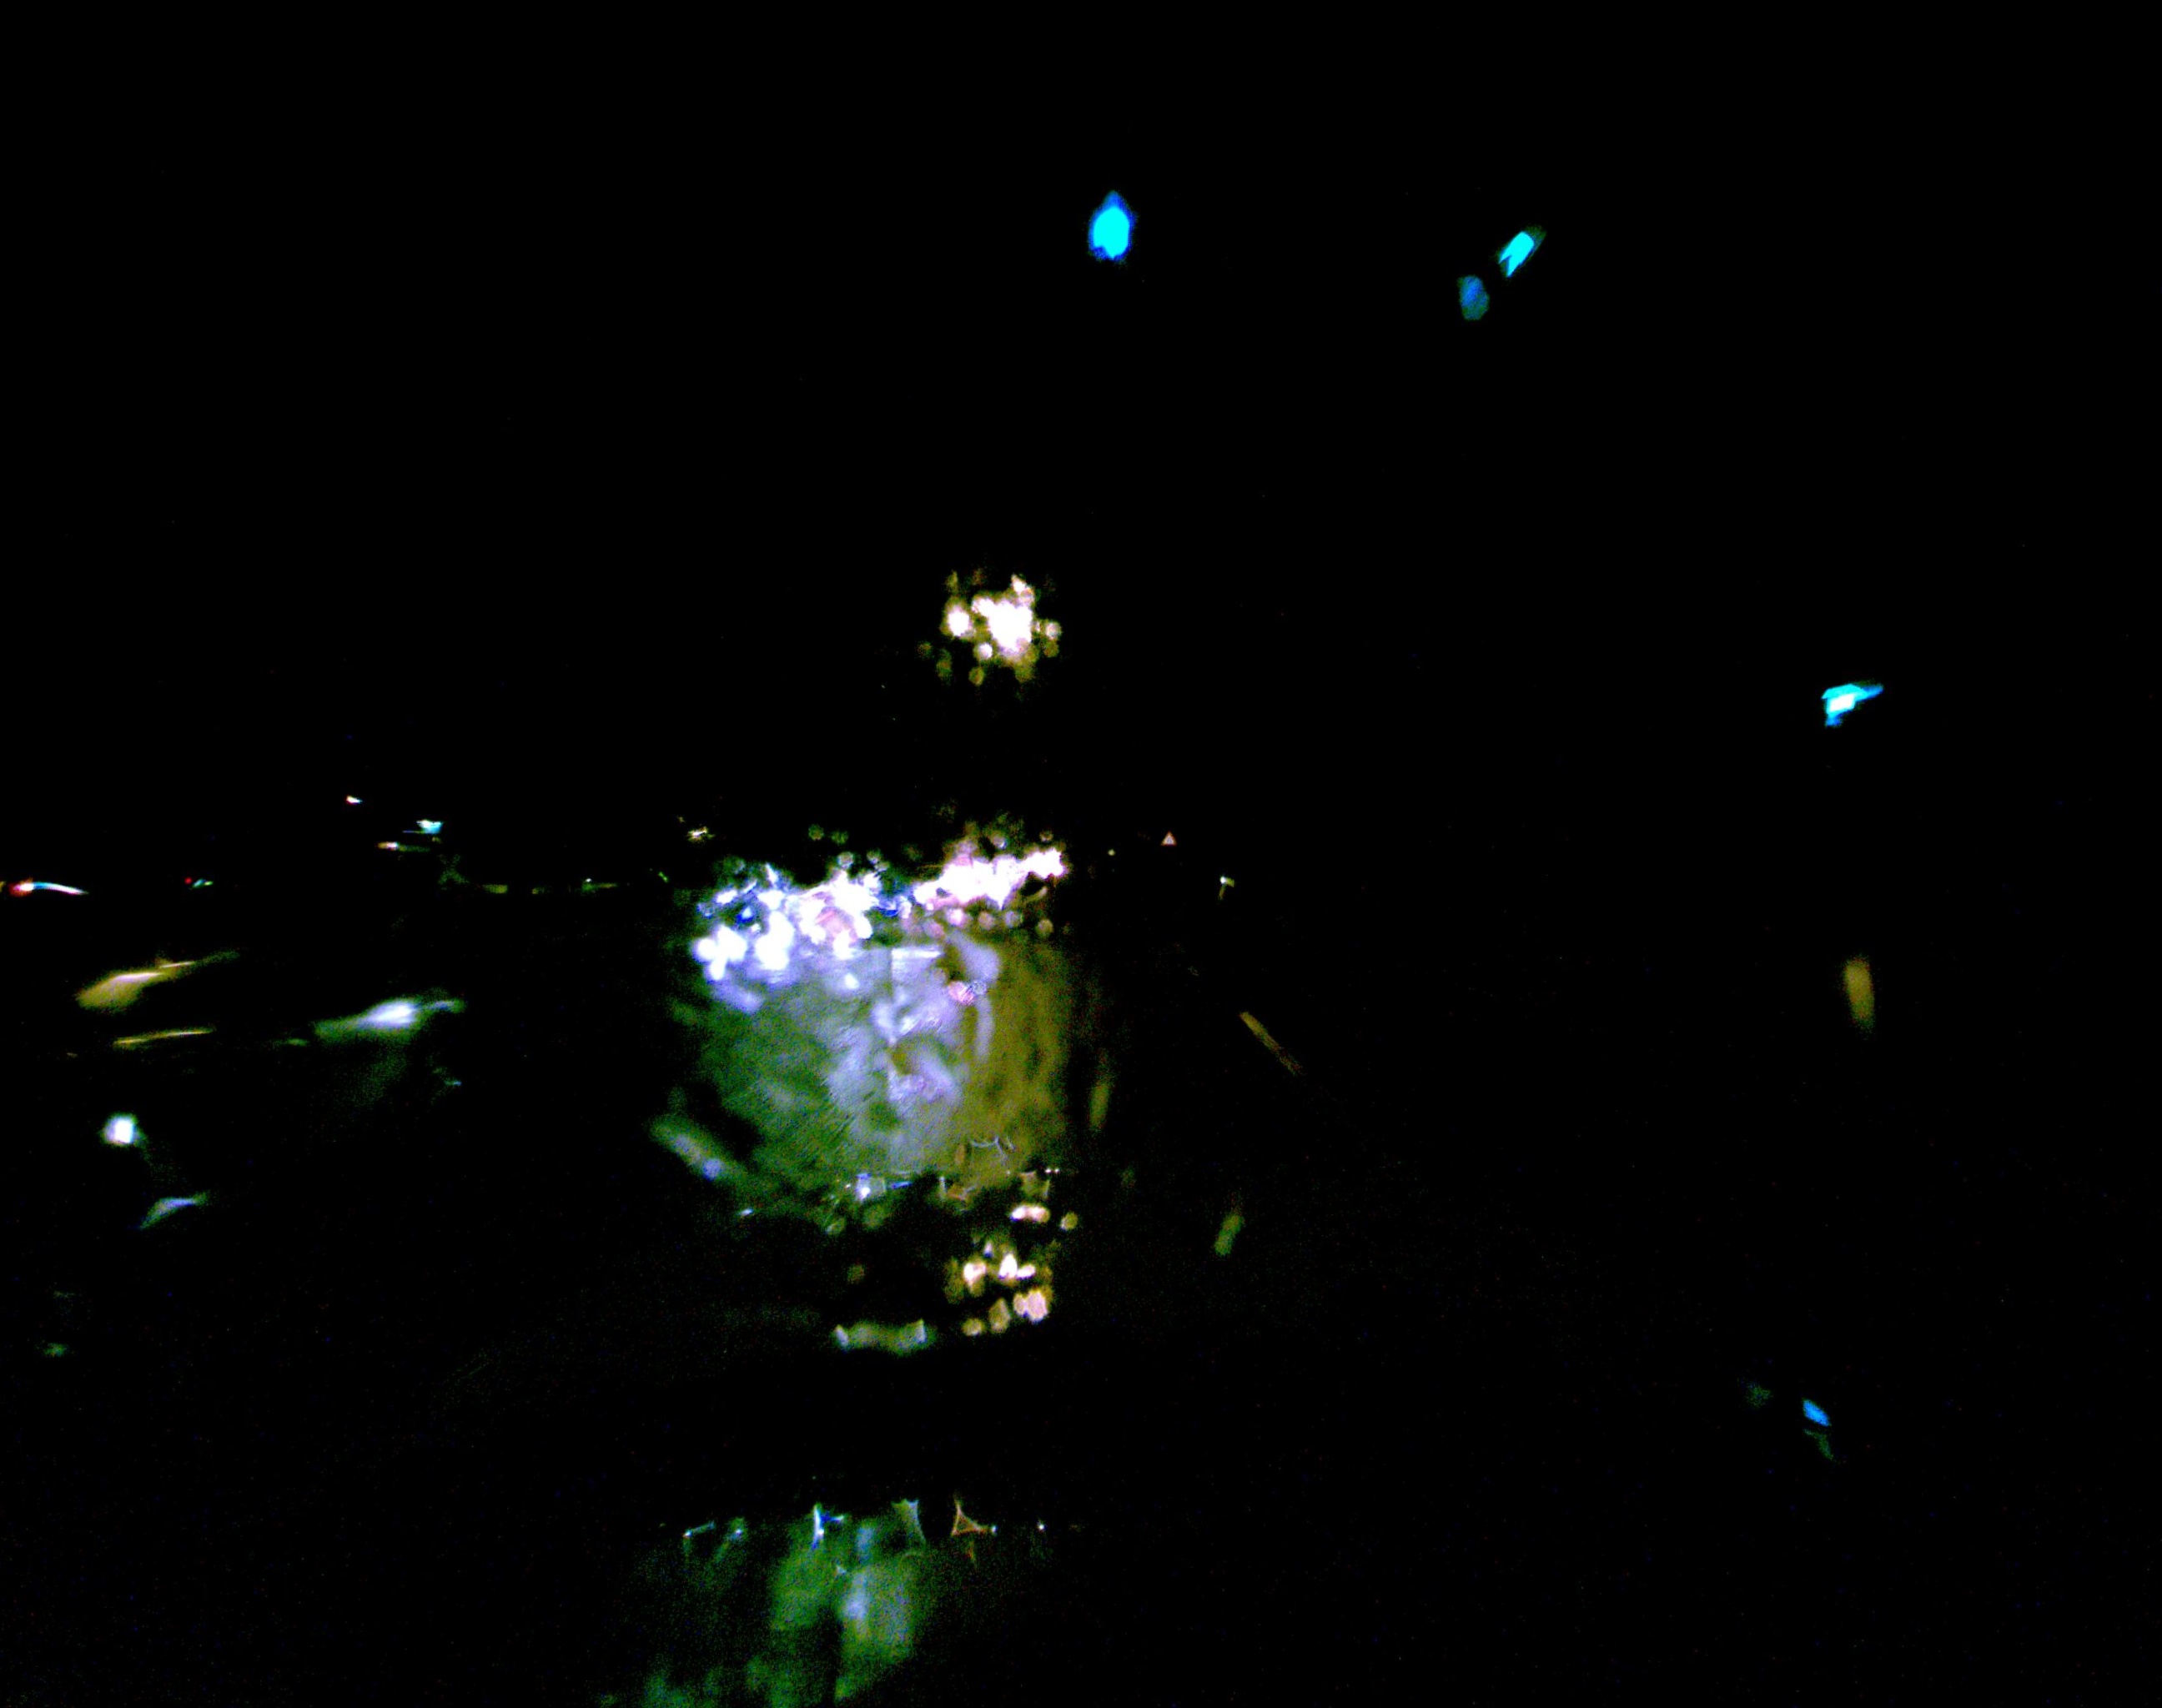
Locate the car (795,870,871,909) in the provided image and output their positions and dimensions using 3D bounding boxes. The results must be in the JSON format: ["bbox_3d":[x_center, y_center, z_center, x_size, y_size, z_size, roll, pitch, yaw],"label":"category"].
[{"bbox_3d":[-9.652,1.344,31.972,1.816,1.453,3.602,0,-1,1],"label":"car"}]

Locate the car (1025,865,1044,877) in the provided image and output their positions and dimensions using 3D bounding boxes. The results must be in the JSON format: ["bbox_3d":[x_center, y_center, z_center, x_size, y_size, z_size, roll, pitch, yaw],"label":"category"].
[{"bbox_3d":[-6.436,2.396,114.243,2.074,1.543,4.902,-1,0,3],"label":"car"}]

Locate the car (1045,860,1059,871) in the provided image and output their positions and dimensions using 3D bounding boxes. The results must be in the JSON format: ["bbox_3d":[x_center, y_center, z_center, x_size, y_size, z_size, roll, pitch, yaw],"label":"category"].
[{"bbox_3d":[-5.147,2.017,143.970,1.985,1.865,5.324,-1,0,3],"label":"car"}]

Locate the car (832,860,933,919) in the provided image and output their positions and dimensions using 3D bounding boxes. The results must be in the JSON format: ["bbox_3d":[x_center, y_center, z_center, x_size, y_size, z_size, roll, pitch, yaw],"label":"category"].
[{"bbox_3d":[-6.164,1.082,25.983,1.987,1.698,5.011,0,-1,0],"label":"car"}]

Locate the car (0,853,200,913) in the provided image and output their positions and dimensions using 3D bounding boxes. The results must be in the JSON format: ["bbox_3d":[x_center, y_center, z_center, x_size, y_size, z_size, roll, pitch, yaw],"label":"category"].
[{"bbox_3d":[-41.590,1.164,34.440,1.986,2.307,6.024,0,-1,2],"label":"car"}]

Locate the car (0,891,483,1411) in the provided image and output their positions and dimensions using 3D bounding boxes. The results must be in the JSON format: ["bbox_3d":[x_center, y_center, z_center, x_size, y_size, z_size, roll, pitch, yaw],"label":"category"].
[{"bbox_3d":[-4.305,0.902,3.398,1.666,1.365,4.474,0,-1,-20],"label":"car"}]

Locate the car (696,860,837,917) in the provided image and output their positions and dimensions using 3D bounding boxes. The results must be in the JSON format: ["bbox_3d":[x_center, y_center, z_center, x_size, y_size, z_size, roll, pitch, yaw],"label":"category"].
[{"bbox_3d":[-9.603,0.989,25.413,2.351,1.556,5.159,0,0,0],"label":"car"}]

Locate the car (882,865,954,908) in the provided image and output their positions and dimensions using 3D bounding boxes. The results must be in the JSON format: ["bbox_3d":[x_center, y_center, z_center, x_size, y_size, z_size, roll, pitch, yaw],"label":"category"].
[{"bbox_3d":[-6.352,1.238,32.290,1.950,1.571,4.465,0,-1,0],"label":"car"}]

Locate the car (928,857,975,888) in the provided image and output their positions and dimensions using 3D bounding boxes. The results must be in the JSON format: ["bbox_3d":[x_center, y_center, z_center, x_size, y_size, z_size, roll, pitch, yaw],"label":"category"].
[{"bbox_3d":[-8.697,1.213,55.140,2.145,2.014,4.997,0,-1,2],"label":"car"}]

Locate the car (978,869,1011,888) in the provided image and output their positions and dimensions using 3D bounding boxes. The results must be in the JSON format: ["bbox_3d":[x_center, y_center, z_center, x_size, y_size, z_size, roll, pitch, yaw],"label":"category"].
[{"bbox_3d":[-7.800,2.184,74.157,2.172,1.558,5.208,-1,0,3],"label":"car"}]
